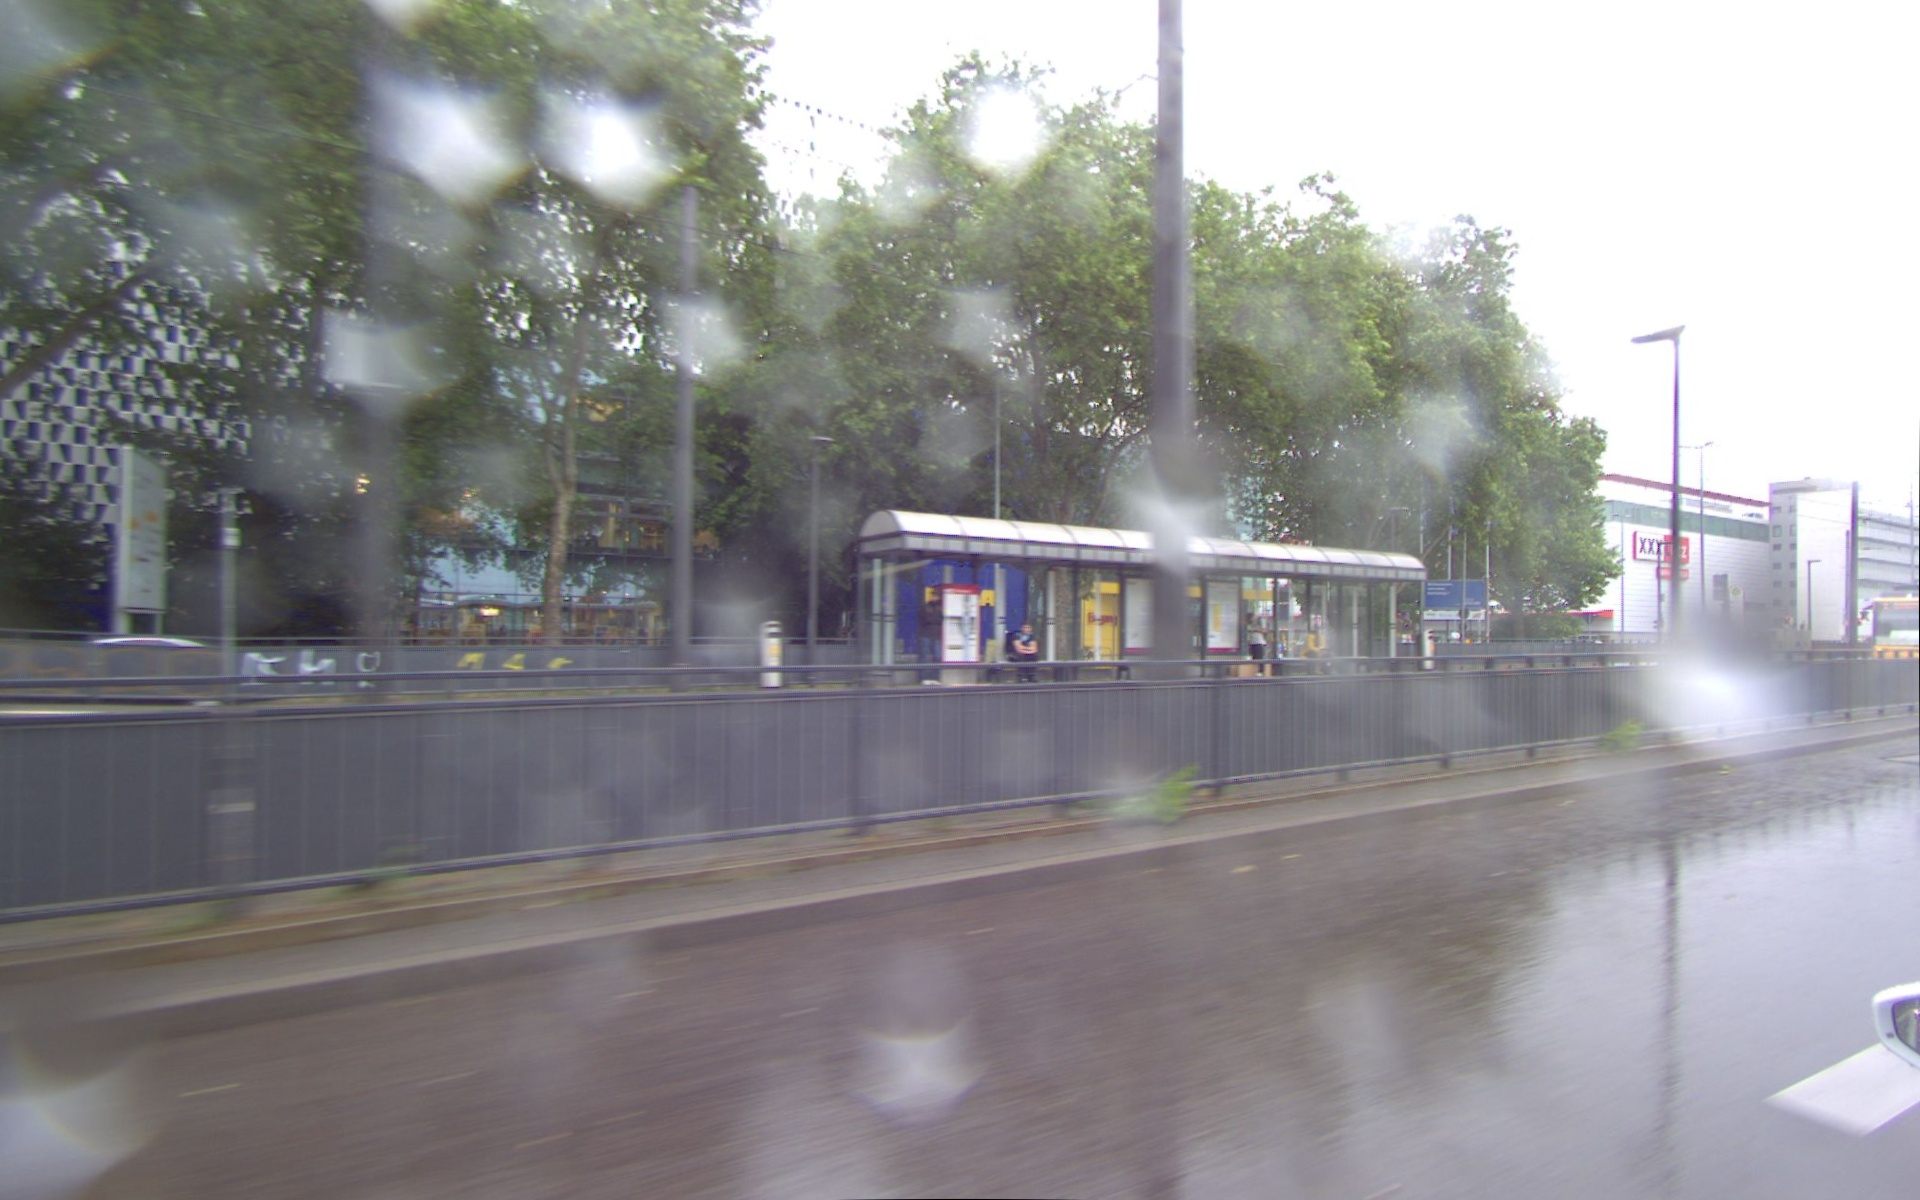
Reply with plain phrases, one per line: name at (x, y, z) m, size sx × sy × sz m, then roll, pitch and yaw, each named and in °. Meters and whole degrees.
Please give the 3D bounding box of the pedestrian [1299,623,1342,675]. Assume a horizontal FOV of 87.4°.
pedestrian at (9.424, 1.267, 26.256) m, size 0.804 × 1.320 × 0.641 m, roll 1°, pitch 0°, yaw -27°

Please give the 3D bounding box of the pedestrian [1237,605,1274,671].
pedestrian at (7.327, 0.940, 24.926) m, size 0.811 × 1.582 × 0.673 m, roll 2°, pitch 0°, yaw 18°

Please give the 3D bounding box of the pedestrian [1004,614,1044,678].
pedestrian at (1.331, 0.954, 20.930) m, size 0.655 × 1.284 × 0.491 m, roll 1°, pitch 0°, yaw -27°

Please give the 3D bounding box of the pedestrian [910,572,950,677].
pedestrian at (-0.589, 0.476, 19.846) m, size 0.576 × 2.040 × 0.491 m, roll 1°, pitch 0°, yaw -30°

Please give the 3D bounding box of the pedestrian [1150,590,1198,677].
pedestrian at (4.909, 0.765, 23.058) m, size 0.804 × 1.959 × 0.619 m, roll 1°, pitch 0°, yaw -27°

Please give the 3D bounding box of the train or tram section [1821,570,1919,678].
train or tram section at (47.072, 1.215, 46.282) m, size 26.800 × 4.090 × 3.748 m, roll 2°, pitch 0°, yaw -33°

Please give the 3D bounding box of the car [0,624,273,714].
car at (-14.434, 1.147, 17.525) m, size 3.957 × 1.401 × 1.939 m, roll 2°, pitch -1°, yaw -33°

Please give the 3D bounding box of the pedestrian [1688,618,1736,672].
pedestrian at (29.191, 1.739, 39.000) m, size 1.083 × 2.040 × 1.084 m, roll 1°, pitch 0°, yaw -28°
